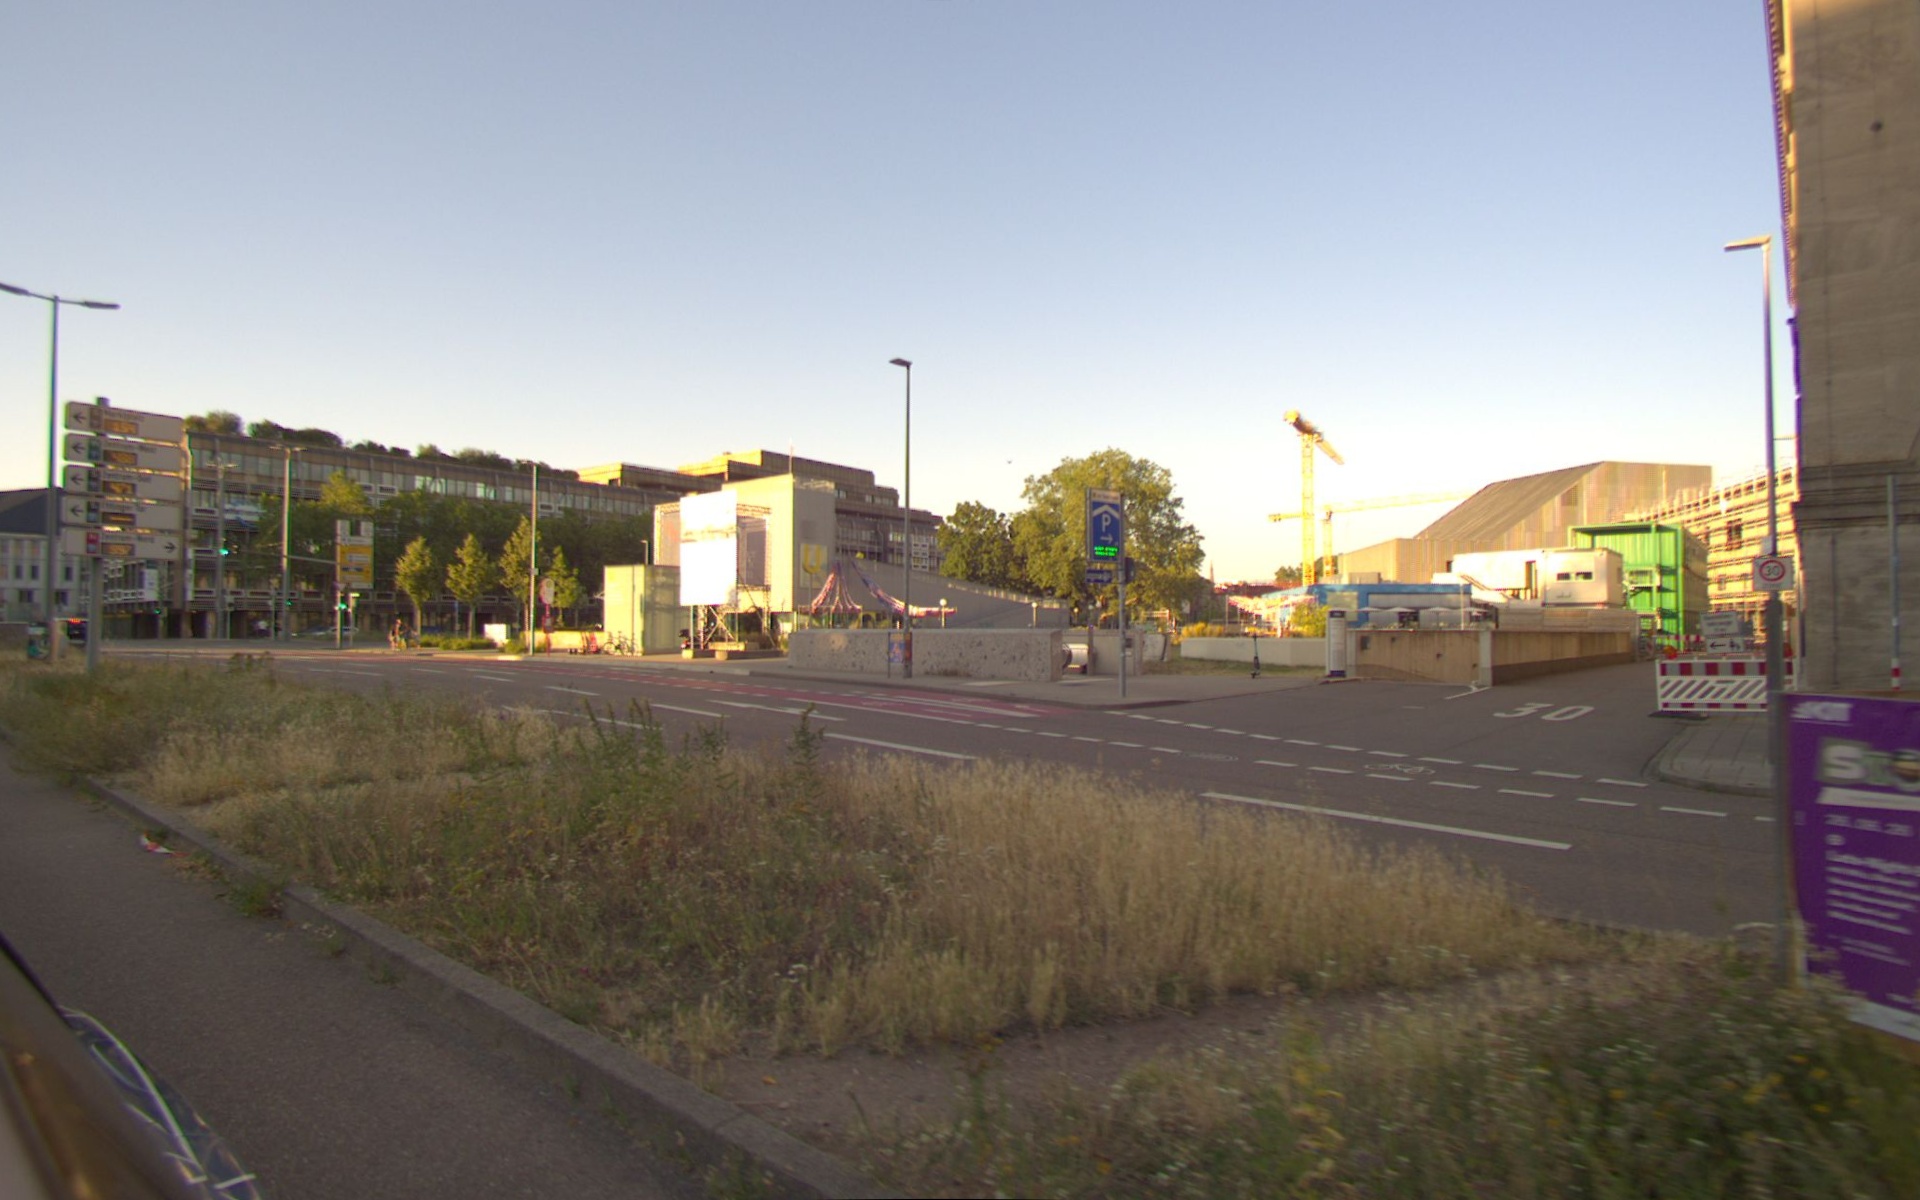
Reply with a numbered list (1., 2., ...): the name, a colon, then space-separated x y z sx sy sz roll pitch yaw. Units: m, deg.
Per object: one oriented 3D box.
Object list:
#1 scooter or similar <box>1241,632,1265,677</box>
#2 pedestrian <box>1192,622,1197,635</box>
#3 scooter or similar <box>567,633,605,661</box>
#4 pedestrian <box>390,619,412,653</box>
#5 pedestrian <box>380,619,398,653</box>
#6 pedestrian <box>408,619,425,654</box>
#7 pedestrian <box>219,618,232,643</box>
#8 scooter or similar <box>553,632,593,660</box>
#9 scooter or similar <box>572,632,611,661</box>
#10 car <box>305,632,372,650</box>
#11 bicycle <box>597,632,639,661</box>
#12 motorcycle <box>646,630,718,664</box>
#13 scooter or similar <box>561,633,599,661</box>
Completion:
1. scooter or similar: 8.419 1.543 29.055 0.542 1.233 1.555 0 -2 21
2. pedestrian: 25.032 3.050 108.046 0.380 1.418 0.572 -1 -2 20
3. scooter or similar: -17.862 2.215 48.363 0.422 1.315 1.815 -1 -2 34
4. pedestrian: -31.422 2.016 56.887 0.775 1.851 0.862 -1 -2 42
5. pedestrian: -32.354 2.040 57.363 0.774 1.948 0.625 -1 -2 38
6. pedestrian: -30.870 2.081 57.453 0.647 1.948 0.652 -3 -3 42
7. pedestrian: -59.382 2.461 81.827 0.680 1.946 0.636 -1 -2 38
8. scooter or similar: -18.677 2.229 48.928 0.499 1.315 1.842 -1 -2 34
9. scooter or similar: -17.504 2.202 48.104 0.422 1.315 1.820 -1 -2 34
10. car: -59.490 3.914 96.934 1.998 1.597 5.095 -2 -3 40
11. bicycle: -15.879 2.136 46.931 2.506 1.334 0.611 -1 -2 39
12. motorcycle: -12.289 2.043 44.885 0.839 1.393 3.201 -1 -1 38
13. scooter or similar: -18.249 2.228 48.654 0.416 1.315 1.772 -1 -2 34
